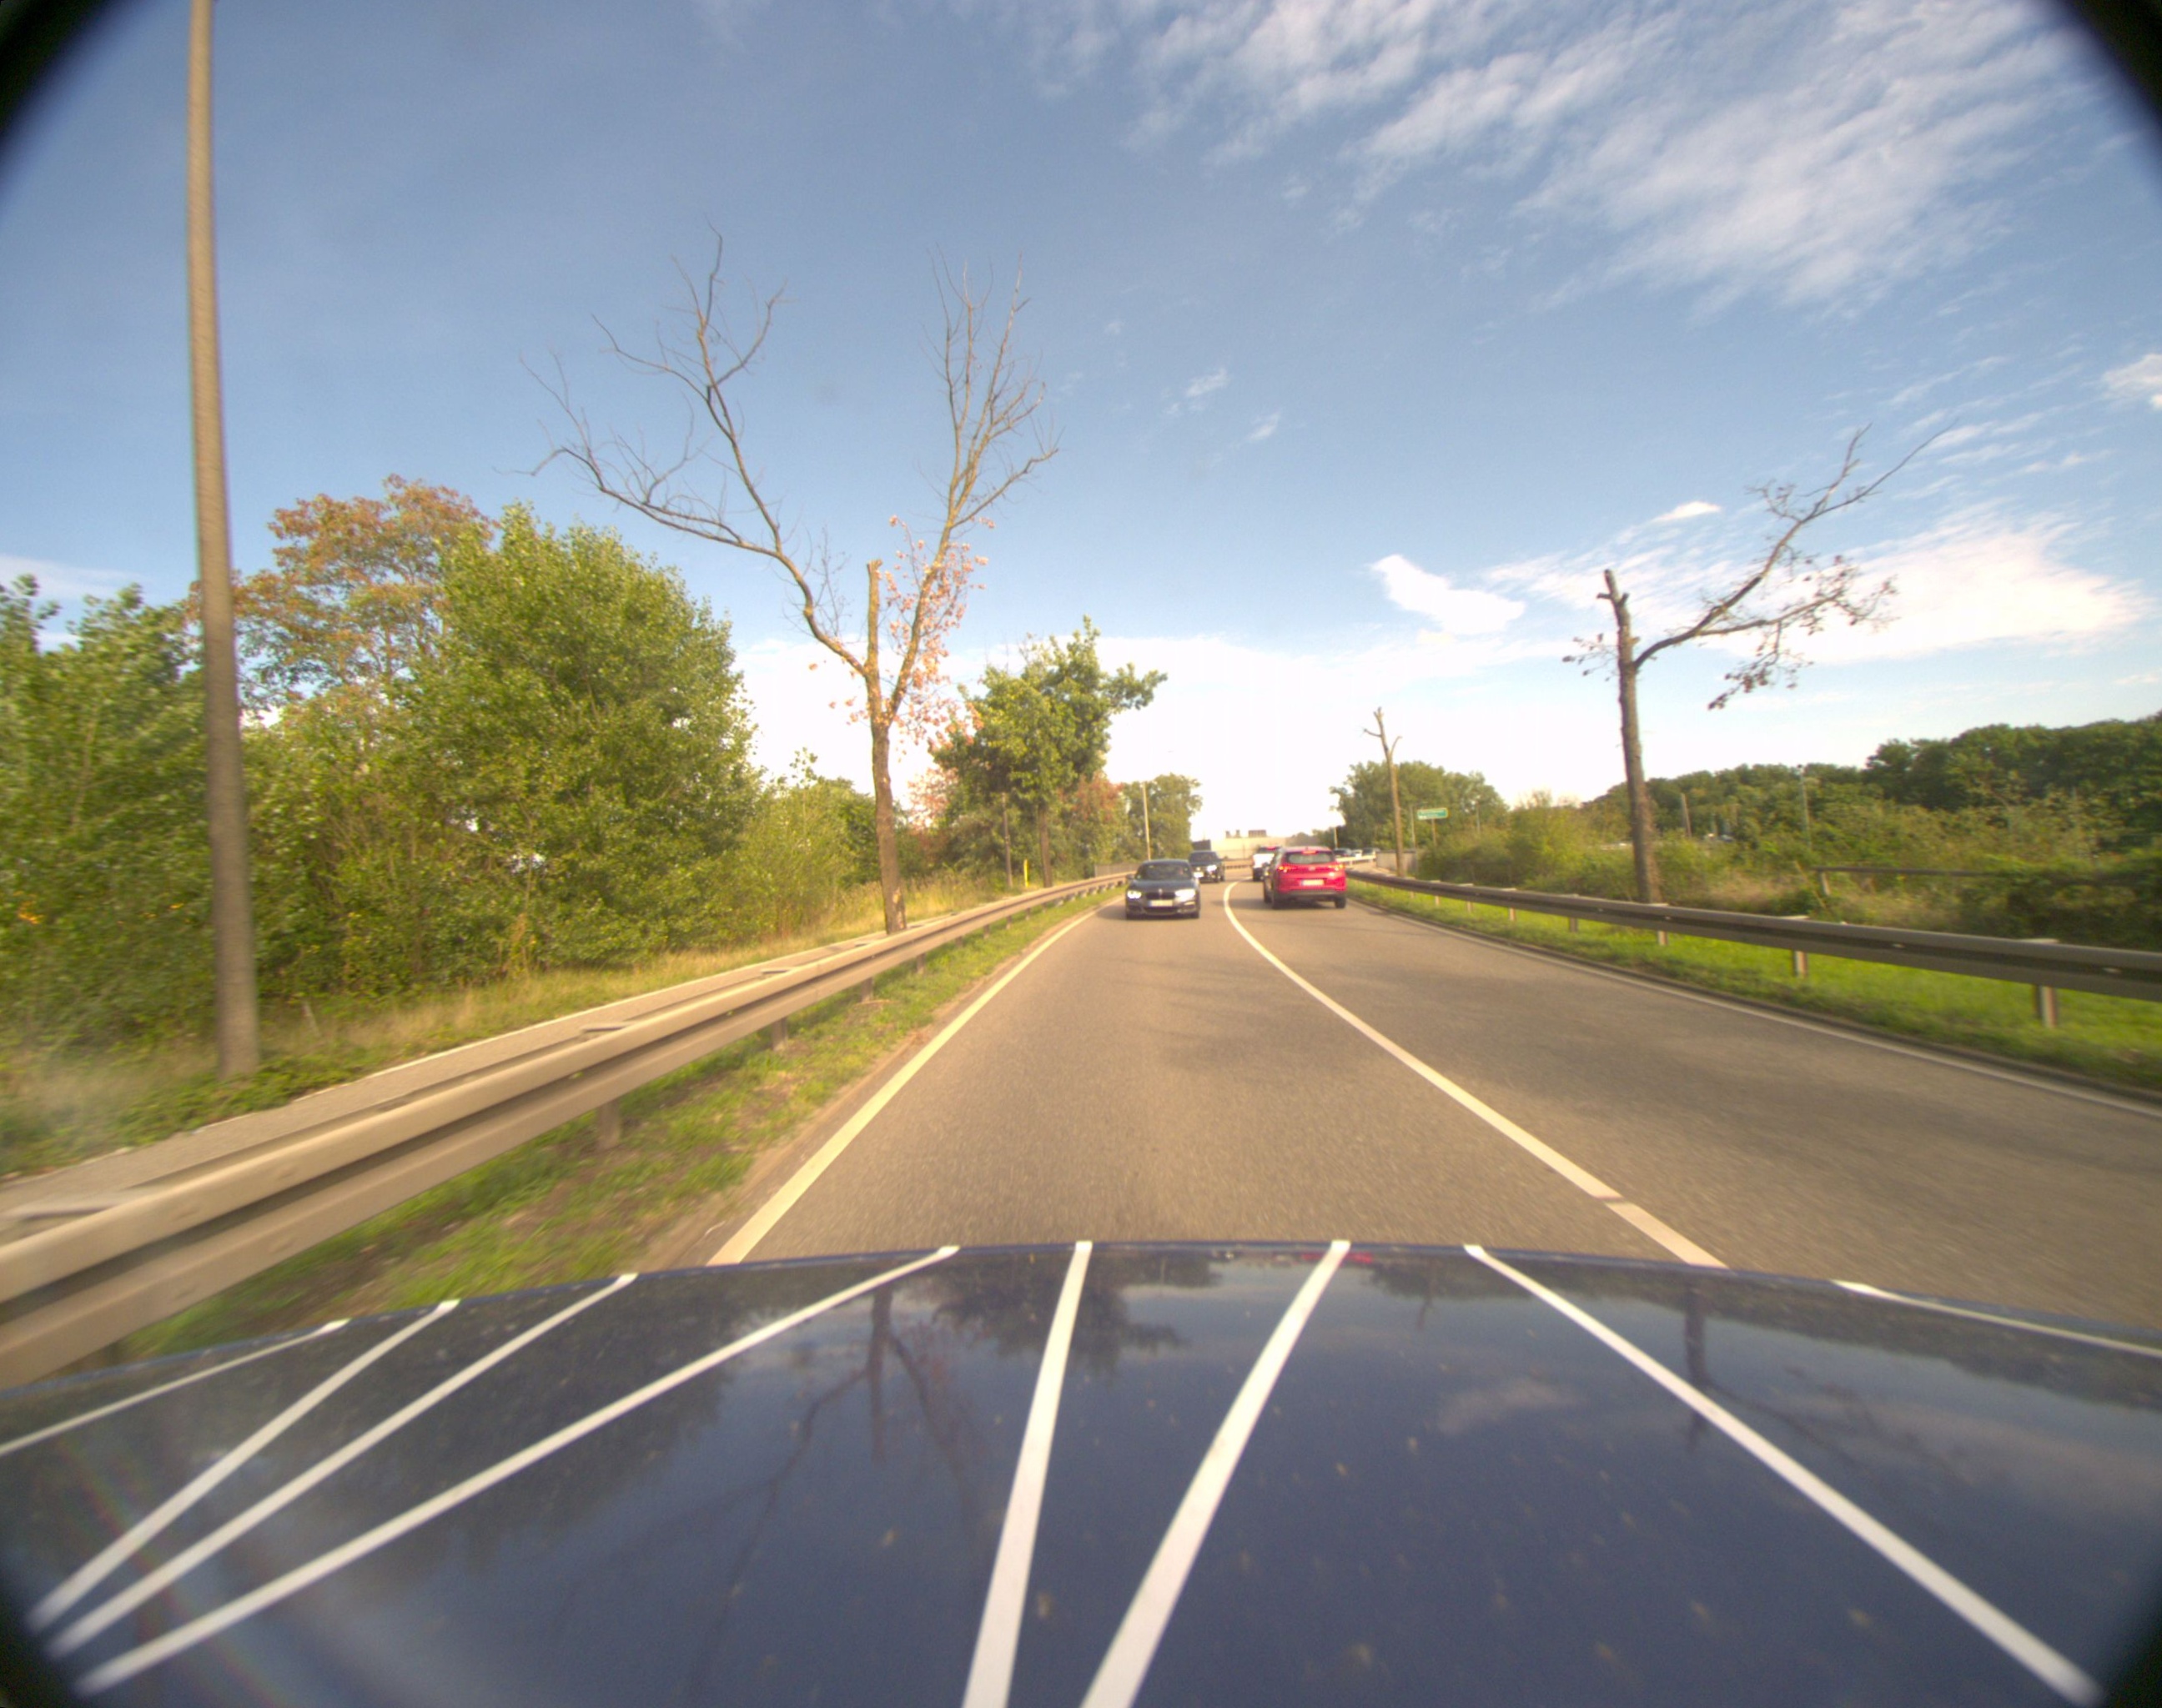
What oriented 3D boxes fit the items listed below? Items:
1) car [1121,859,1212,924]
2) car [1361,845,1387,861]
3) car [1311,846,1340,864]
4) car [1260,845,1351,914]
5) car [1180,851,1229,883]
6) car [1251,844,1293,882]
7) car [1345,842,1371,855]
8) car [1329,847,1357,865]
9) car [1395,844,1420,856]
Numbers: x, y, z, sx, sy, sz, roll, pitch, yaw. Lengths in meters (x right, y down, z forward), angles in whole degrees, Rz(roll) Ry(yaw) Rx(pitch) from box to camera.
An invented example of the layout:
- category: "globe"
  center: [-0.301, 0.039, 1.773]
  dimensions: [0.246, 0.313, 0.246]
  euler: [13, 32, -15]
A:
- category: "car"
  center: [2.272, 0.886, 19.291]
  dimensions: [1.784, 1.396, 3.974]
  euler: [-2, 0, 14]
- category: "car"
  center: [33.137, -0.093, 85.866]
  dimensions: [1.682, 1.639, 4.306]
  euler: [-2, 0, 35]
- category: "car"
  center: [22.142, 0.037, 68.795]
  dimensions: [1.800, 1.511, 4.015]
  euler: [-2, 0, 28]
- category: "car"
  center: [6.118, 0.627, 21.154]
  dimensions: [1.812, 1.664, 4.300]
  euler: [-2, 0, 9]
- category: "car"
  center: [6.382, 0.615, 38.862]
  dimensions: [1.816, 1.498, 4.396]
  euler: [-2, 0, 18]
- category: "car"
  center: [9.932, 0.408, 39.406]
  dimensions: [1.903, 1.800, 5.409]
  euler: [-2, 0, 15]
- category: "car"
  center: [33.488, -0.642, 91.931]
  dimensions: [1.815, 1.498, 4.400]
  euler: [-2, 0, 36]
- category: "car"
  center: [26.282, 0.169, 76.113]
  dimensions: [1.927, 1.639, 4.596]
  euler: [-2, 0, 29]
- category: "car"
  center: [41.866, -0.562, 97.426]
  dimensions: [1.834, 1.457, 4.526]
  euler: [-2, 0, 37]
